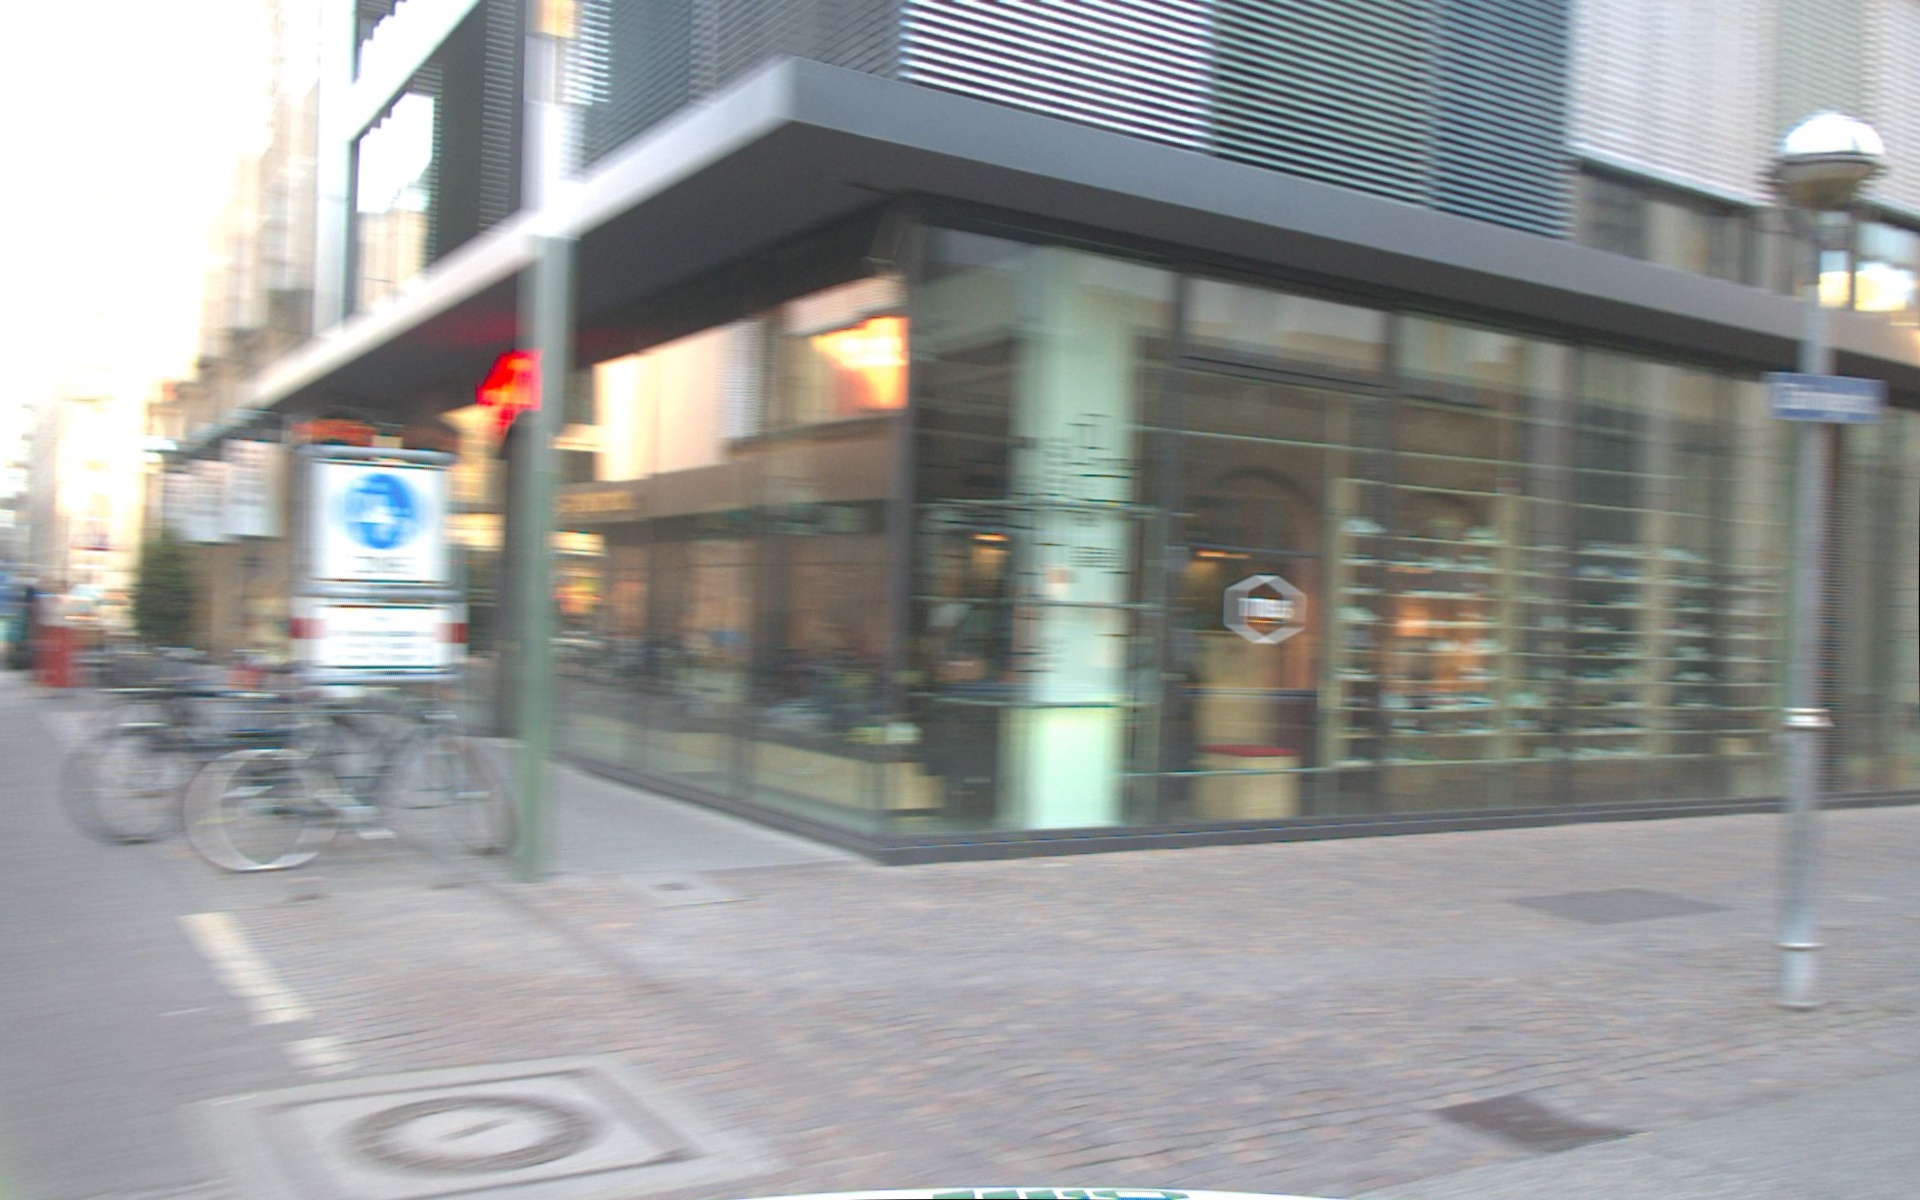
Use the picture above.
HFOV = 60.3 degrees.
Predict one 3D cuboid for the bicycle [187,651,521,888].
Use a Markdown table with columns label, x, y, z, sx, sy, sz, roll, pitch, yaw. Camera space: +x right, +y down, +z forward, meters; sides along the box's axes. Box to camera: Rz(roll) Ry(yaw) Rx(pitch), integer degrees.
| label | x | y | z | sx | sy | sz | roll | pitch | yaw |
| --- | --- | --- | --- | --- | --- | --- | --- | --- | --- |
| bicycle | -3.338 | 0.891 | 9.176 | 1.681 | 1.156 | 0.462 | -1 | 1 | -33 |

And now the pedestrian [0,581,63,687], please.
| label | x | y | z | sx | sy | sz | roll | pitch | yaw |
| --- | --- | --- | --- | --- | --- | --- | --- | --- | --- |
| pedestrian | -15.234 | 0.554 | 27.085 | 0.890 | 1.690 | 0.921 | 1 | -1 | -30 |

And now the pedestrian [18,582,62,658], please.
| label | x | y | z | sx | sy | sz | roll | pitch | yaw |
| --- | --- | --- | --- | --- | --- | --- | --- | --- | --- |
| pedestrian | -23.157 | 0.505 | 41.623 | 0.896 | 1.892 | 0.826 | 2 | -1 | -33 |

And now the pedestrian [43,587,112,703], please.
| label | x | y | z | sx | sy | sz | roll | pitch | yaw |
| --- | --- | --- | --- | --- | --- | --- | --- | --- | --- |
| pedestrian | -12.439 | 0.620 | 23.314 | 0.789 | 1.593 | 0.850 | 1 | -1 | -31 |

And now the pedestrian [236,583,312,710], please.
| label | x | y | z | sx | sy | sz | roll | pitch | yaw |
| --- | --- | --- | --- | --- | --- | --- | --- | --- | --- |
| pedestrian | -8.847 | 0.593 | 21.328 | 0.788 | 1.593 | 0.851 | 1 | -1 | -29 |

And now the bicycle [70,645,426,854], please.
| label | x | y | z | sx | sy | sz | roll | pitch | yaw |
| --- | --- | --- | --- | --- | --- | --- | --- | --- | --- |
| bicycle | -4.401 | 0.887 | 10.305 | 1.990 | 1.141 | 0.462 | -1 | 1 | -33 |

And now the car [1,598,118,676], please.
| label | x | y | z | sx | sy | sz | roll | pitch | yaw |
| --- | --- | --- | --- | --- | --- | --- | --- | --- | --- |
| car | -18.257 | 0.708 | 33.457 | 1.739 | 1.466 | 3.882 | 1 | 0 | -34 |

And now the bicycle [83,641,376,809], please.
| label | x | y | z | sx | sy | sz | roll | pitch | yaw |
| --- | --- | --- | --- | --- | --- | --- | --- | --- | --- |
| bicycle | -5.567 | 0.922 | 12.677 | 2.015 | 1.141 | 0.462 | -1 | 1 | -33 |
